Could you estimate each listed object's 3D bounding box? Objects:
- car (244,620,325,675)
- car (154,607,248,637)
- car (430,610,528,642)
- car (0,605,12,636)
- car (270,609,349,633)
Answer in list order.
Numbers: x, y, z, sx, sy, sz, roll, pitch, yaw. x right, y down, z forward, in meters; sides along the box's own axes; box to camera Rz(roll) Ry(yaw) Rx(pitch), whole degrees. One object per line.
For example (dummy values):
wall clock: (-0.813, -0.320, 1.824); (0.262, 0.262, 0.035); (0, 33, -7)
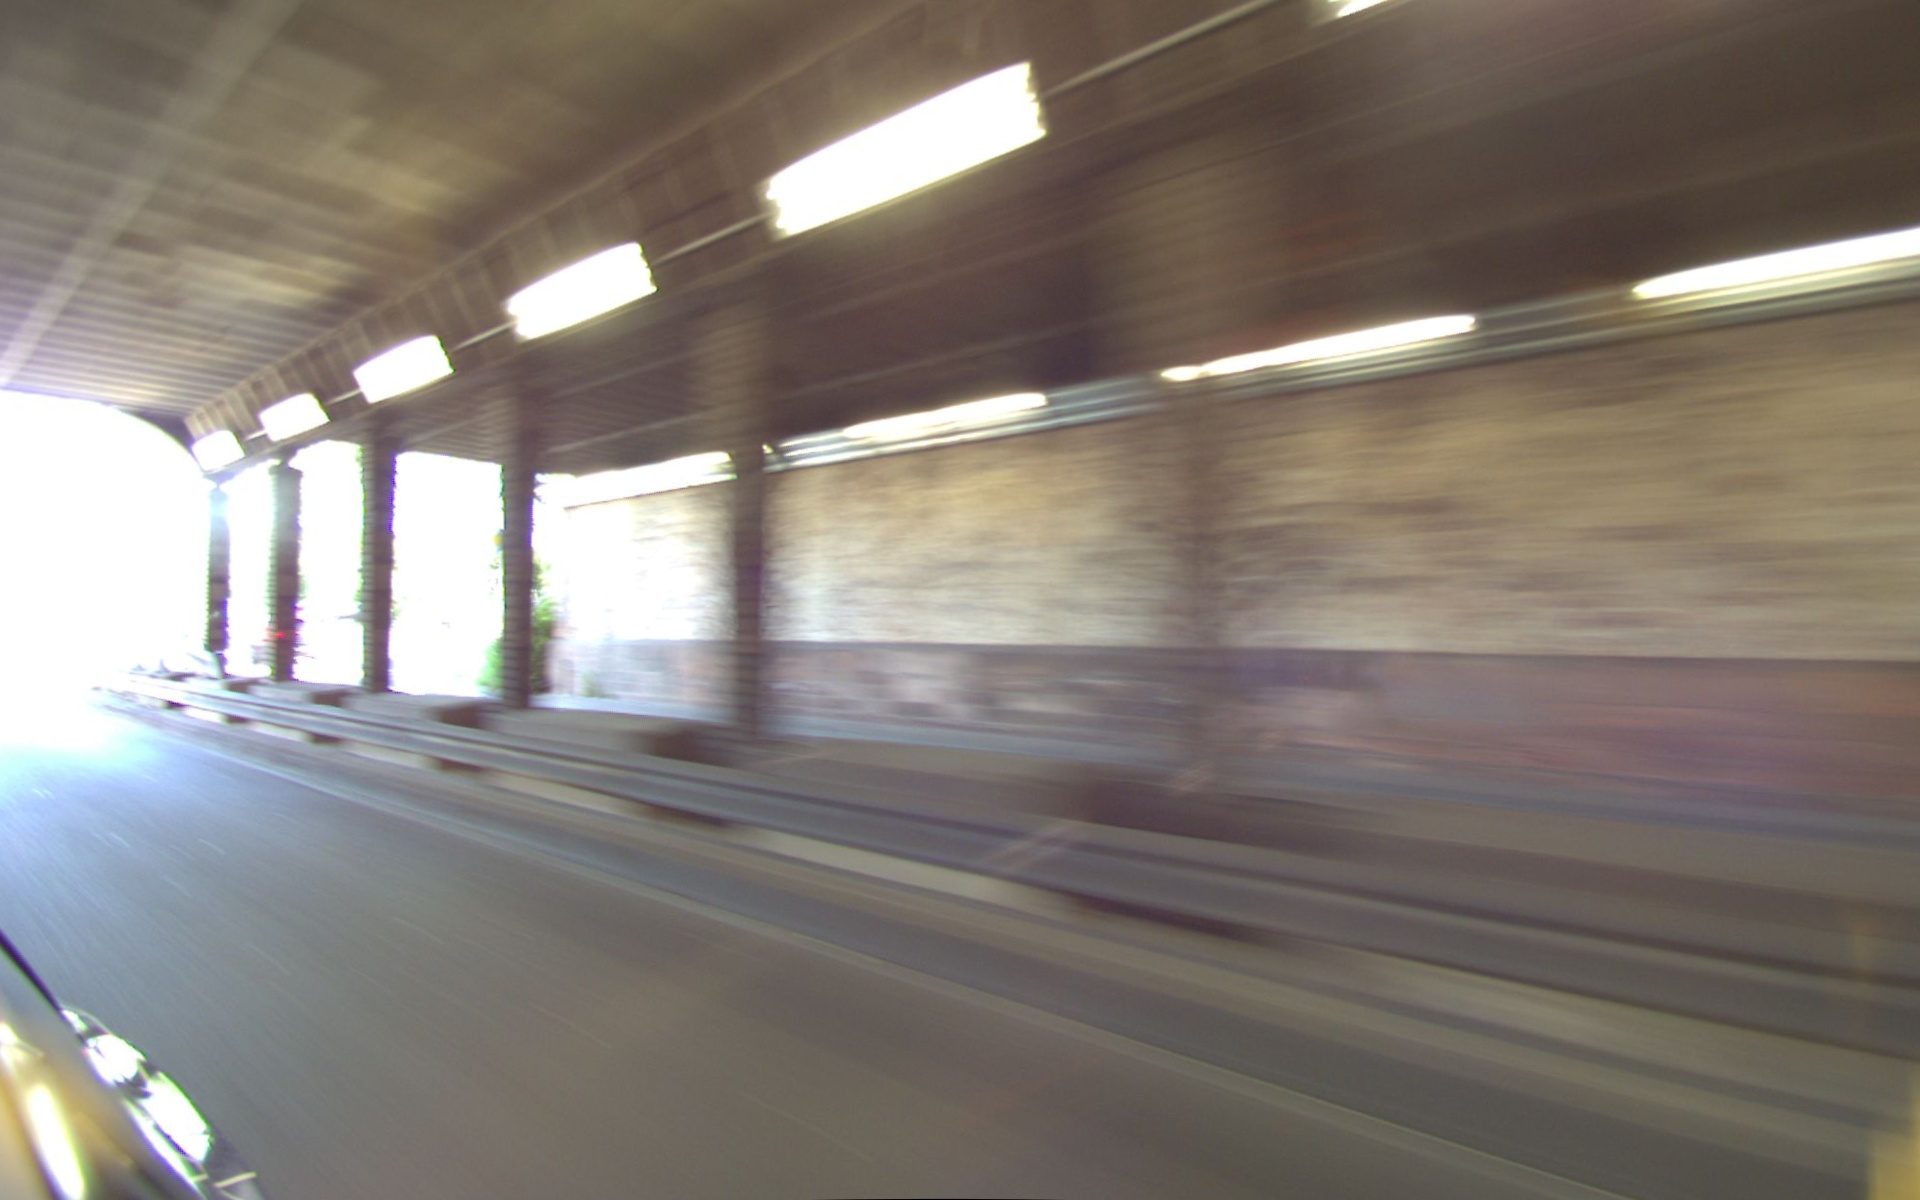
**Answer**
car: (-20.923, 1.412, 31.322); (1.924, 1.529, 4.398); (2, -1, -35)
car: (-43.114, 1.236, 57.606); (1.900, 1.648, 4.107); (0, -1, 11)
car: (-27.572, 1.468, 58.188); (2.046, 1.727, 4.690); (0, -1, 38)
car: (-55.168, 1.095, 55.582); (1.857, 1.757, 4.212); (-1, -3, 37)
car: (-44.033, 1.393, 68.525); (4.260, 1.611, 1.861); (1, -1, -44)
